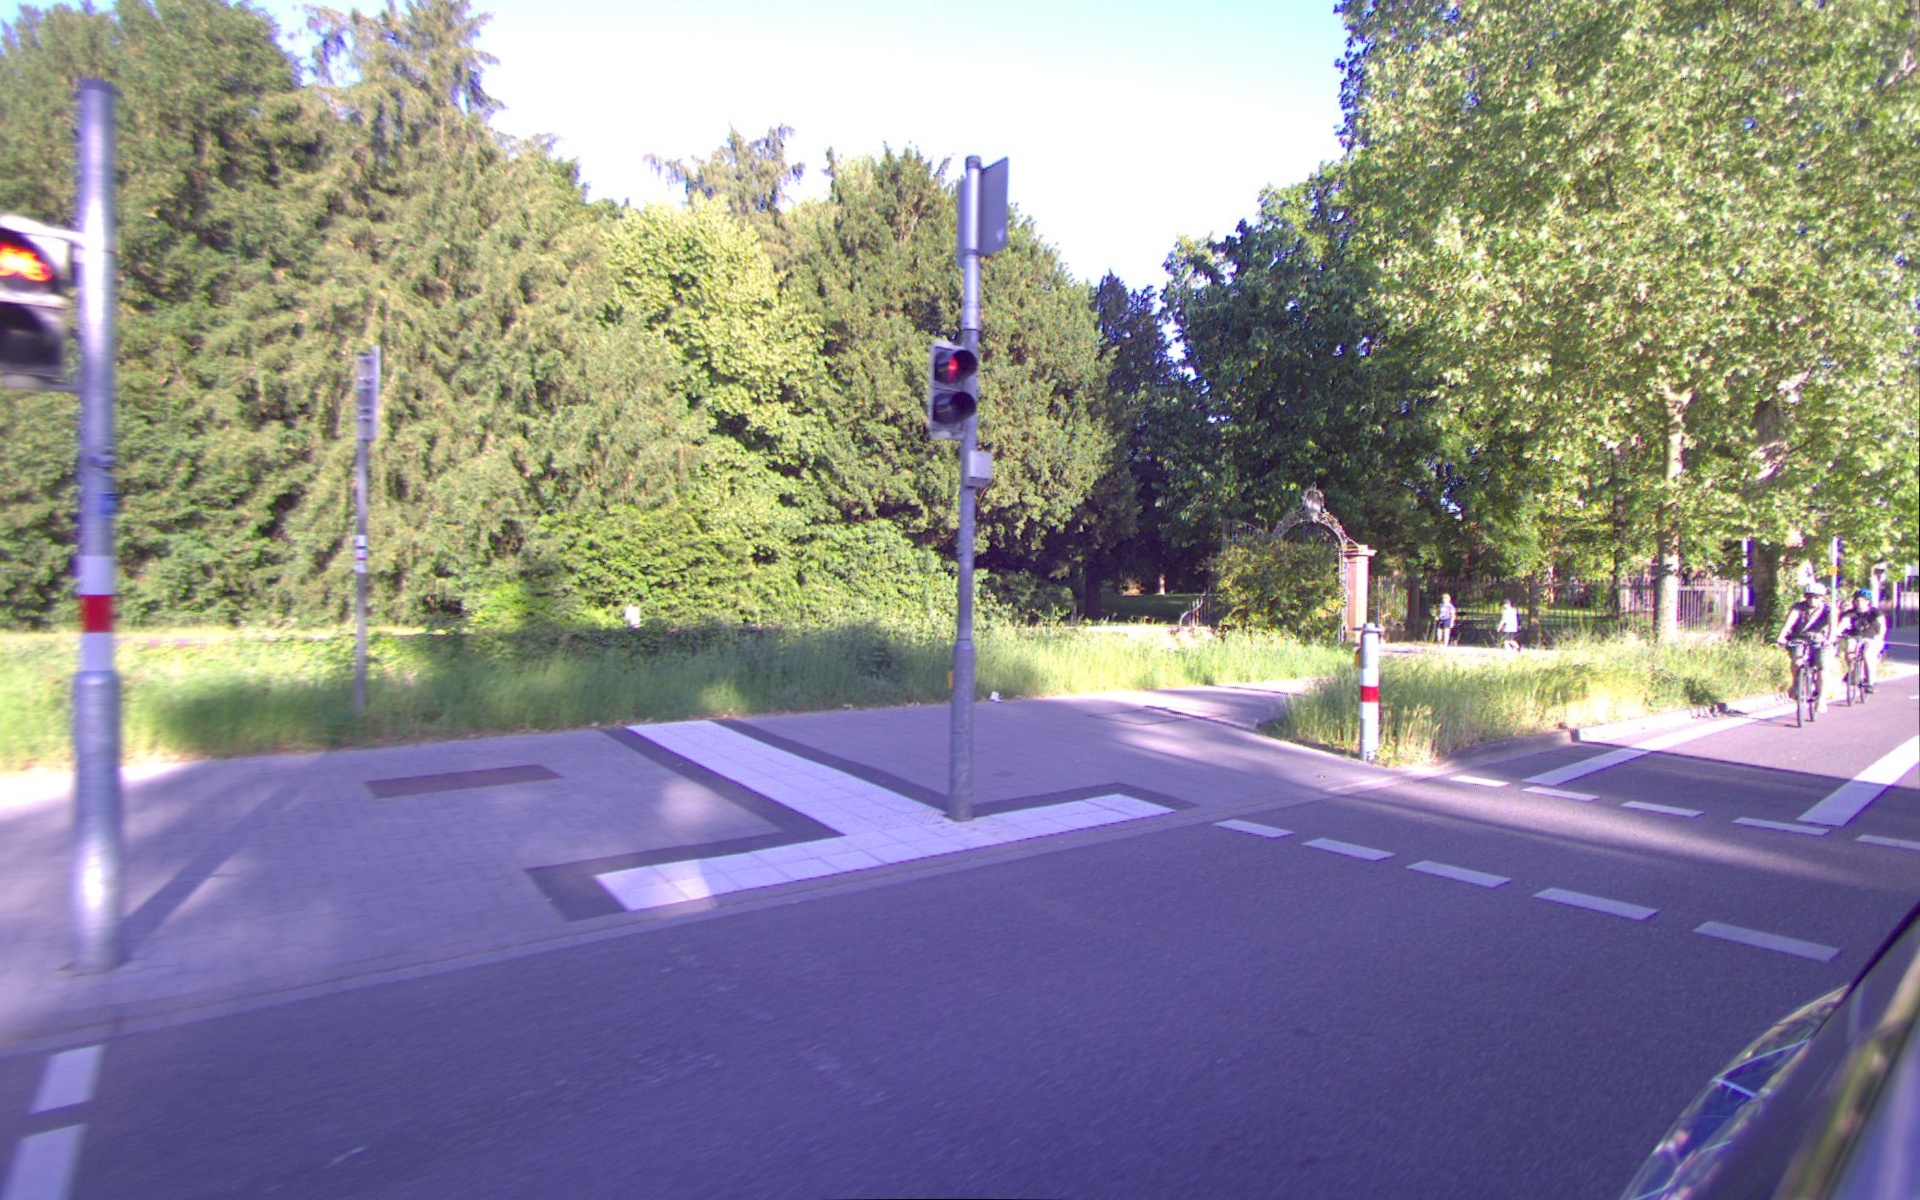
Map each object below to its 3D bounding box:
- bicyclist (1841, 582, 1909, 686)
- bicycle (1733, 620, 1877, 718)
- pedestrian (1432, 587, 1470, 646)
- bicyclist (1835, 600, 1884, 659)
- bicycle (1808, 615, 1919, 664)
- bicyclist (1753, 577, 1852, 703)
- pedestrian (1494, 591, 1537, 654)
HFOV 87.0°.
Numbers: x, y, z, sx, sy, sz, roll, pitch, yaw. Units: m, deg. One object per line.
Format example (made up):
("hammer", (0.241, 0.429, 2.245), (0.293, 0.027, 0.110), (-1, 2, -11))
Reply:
("bicyclist", (13.951, 0.489, 15.426), (0.878, 1.520, 0.694), (0, 1, -44))
("bicycle", (10.648, 0.824, 12.731), (2.093, 1.109, 0.696), (0, 1, -30))
("pedestrian", (13.963, 0.464, 28.792), (0.667, 1.654, 0.693), (0, 1, -32))
("bicyclist", (22.724, 0.732, 25.575), (0.682, 1.466, 0.767), (0, 1, -34))
("bicycle", (22.760, 0.967, 25.530), (0.682, 1.109, 1.992), (0, 1, -33))
("bicyclist", (10.512, 0.478, 12.633), (0.784, 1.509, 0.696), (0, 1, -30))
("pedestrian", (14.024, 0.551, 25.549), (0.667, 1.565, 0.693), (0, 1, -32))
